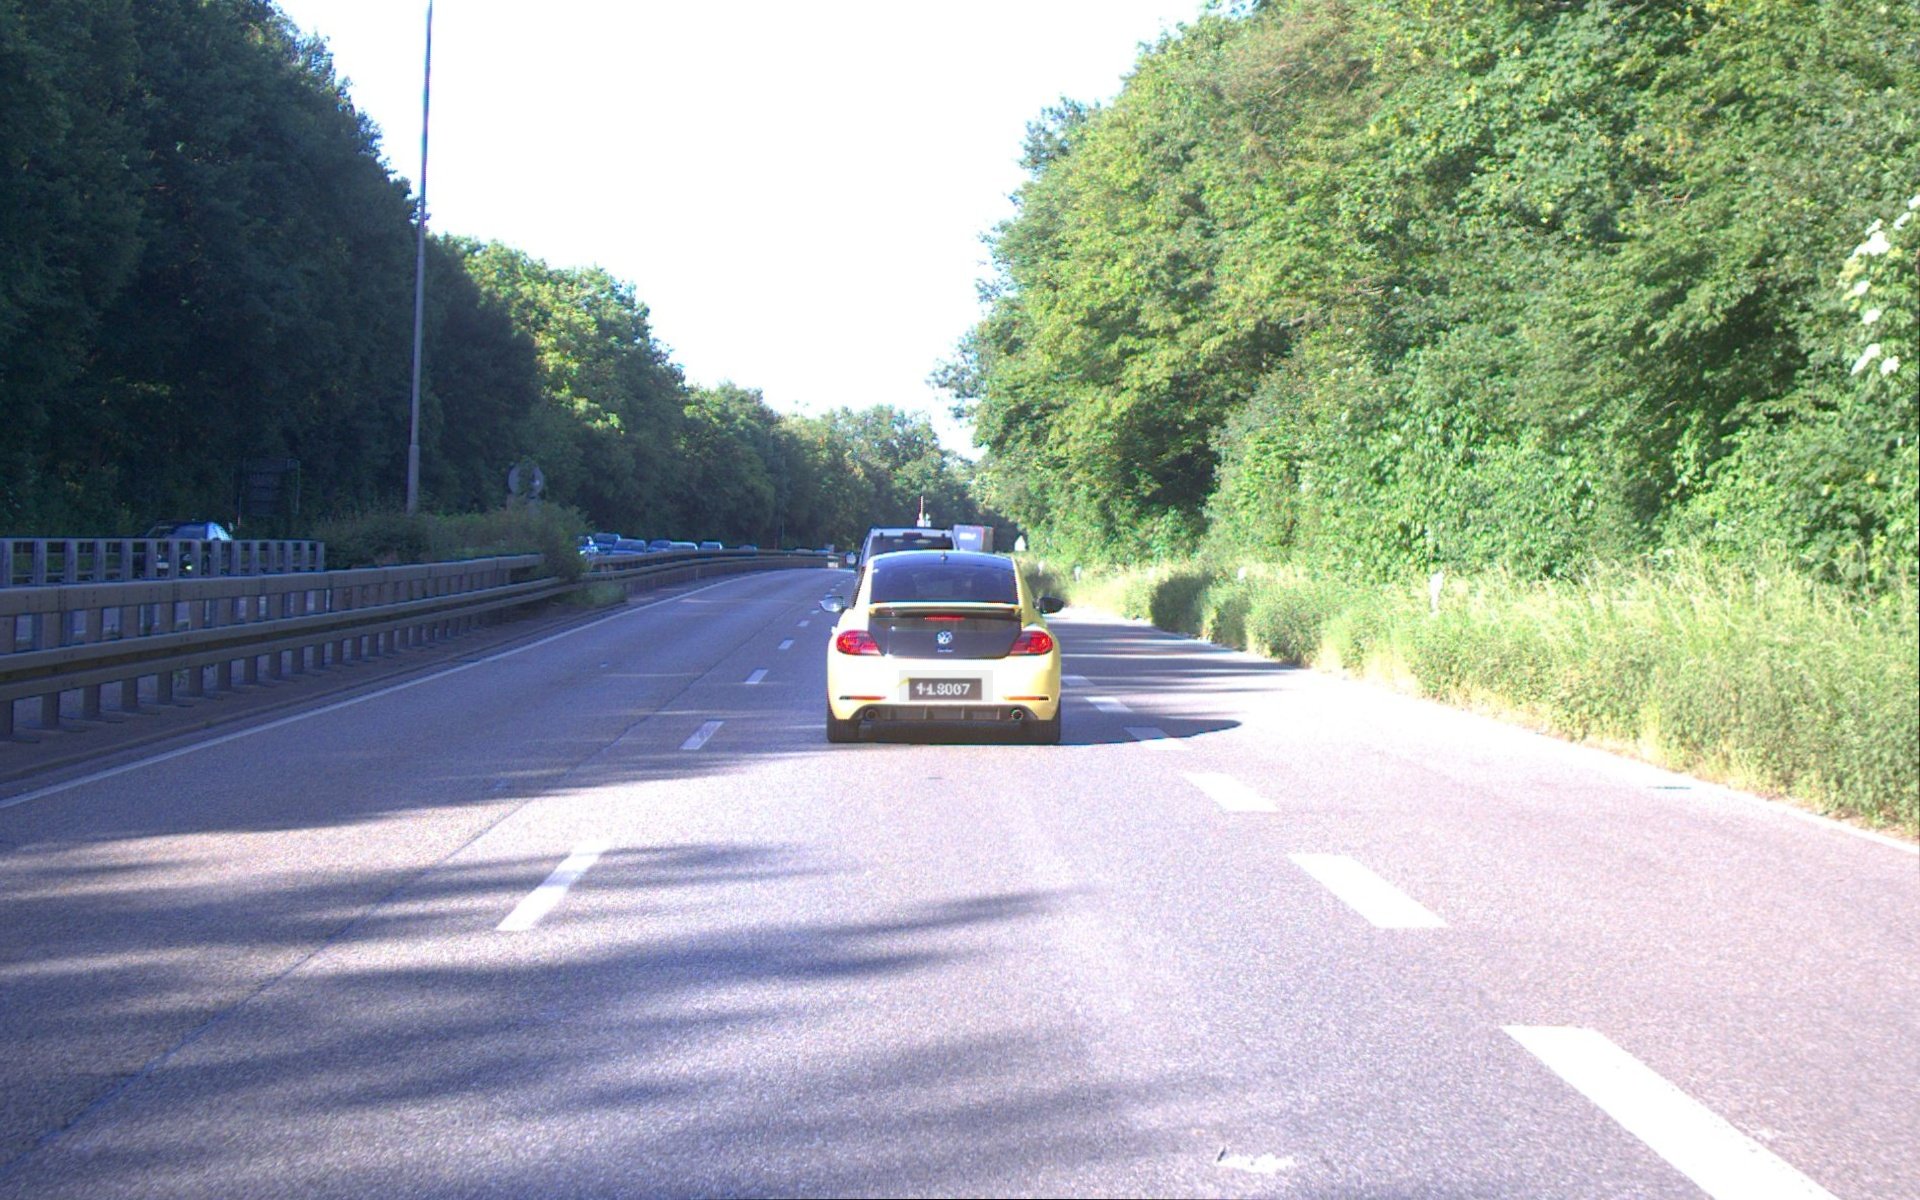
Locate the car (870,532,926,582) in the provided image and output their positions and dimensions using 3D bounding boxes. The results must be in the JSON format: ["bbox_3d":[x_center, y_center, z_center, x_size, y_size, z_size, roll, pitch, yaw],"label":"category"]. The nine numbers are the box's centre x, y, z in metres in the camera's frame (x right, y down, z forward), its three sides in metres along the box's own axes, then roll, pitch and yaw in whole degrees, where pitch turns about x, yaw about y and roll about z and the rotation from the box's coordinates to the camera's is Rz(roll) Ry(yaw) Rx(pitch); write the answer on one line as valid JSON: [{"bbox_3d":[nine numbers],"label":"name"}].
[{"bbox_3d":[-2.260,-1.550,124.548,1.993,1.744,4.373,1,0,-1],"label":"car"}]

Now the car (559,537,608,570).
[{"bbox_3d":[-18.614,-2.287,170.075,1.993,1.595,4.708,1,0,-1],"label":"car"}]

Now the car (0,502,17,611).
[{"bbox_3d":[-16.267,-0.696,53.543,1.993,1.744,4.373,1,0,-1],"label":"car"}]

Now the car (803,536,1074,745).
[{"bbox_3d":[-0.103,0.282,27.056,1.939,1.503,3.422,1,0,2],"label":"car"}]

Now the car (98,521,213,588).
[{"bbox_3d":[-19.018,-1.085,81.422,1.730,1.484,4.454,2,1,-1],"label":"car"}]

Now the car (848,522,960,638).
[{"bbox_3d":[-0.916,-0.335,55.536,1.741,1.823,3.423,0,1,-1],"label":"car"}]
